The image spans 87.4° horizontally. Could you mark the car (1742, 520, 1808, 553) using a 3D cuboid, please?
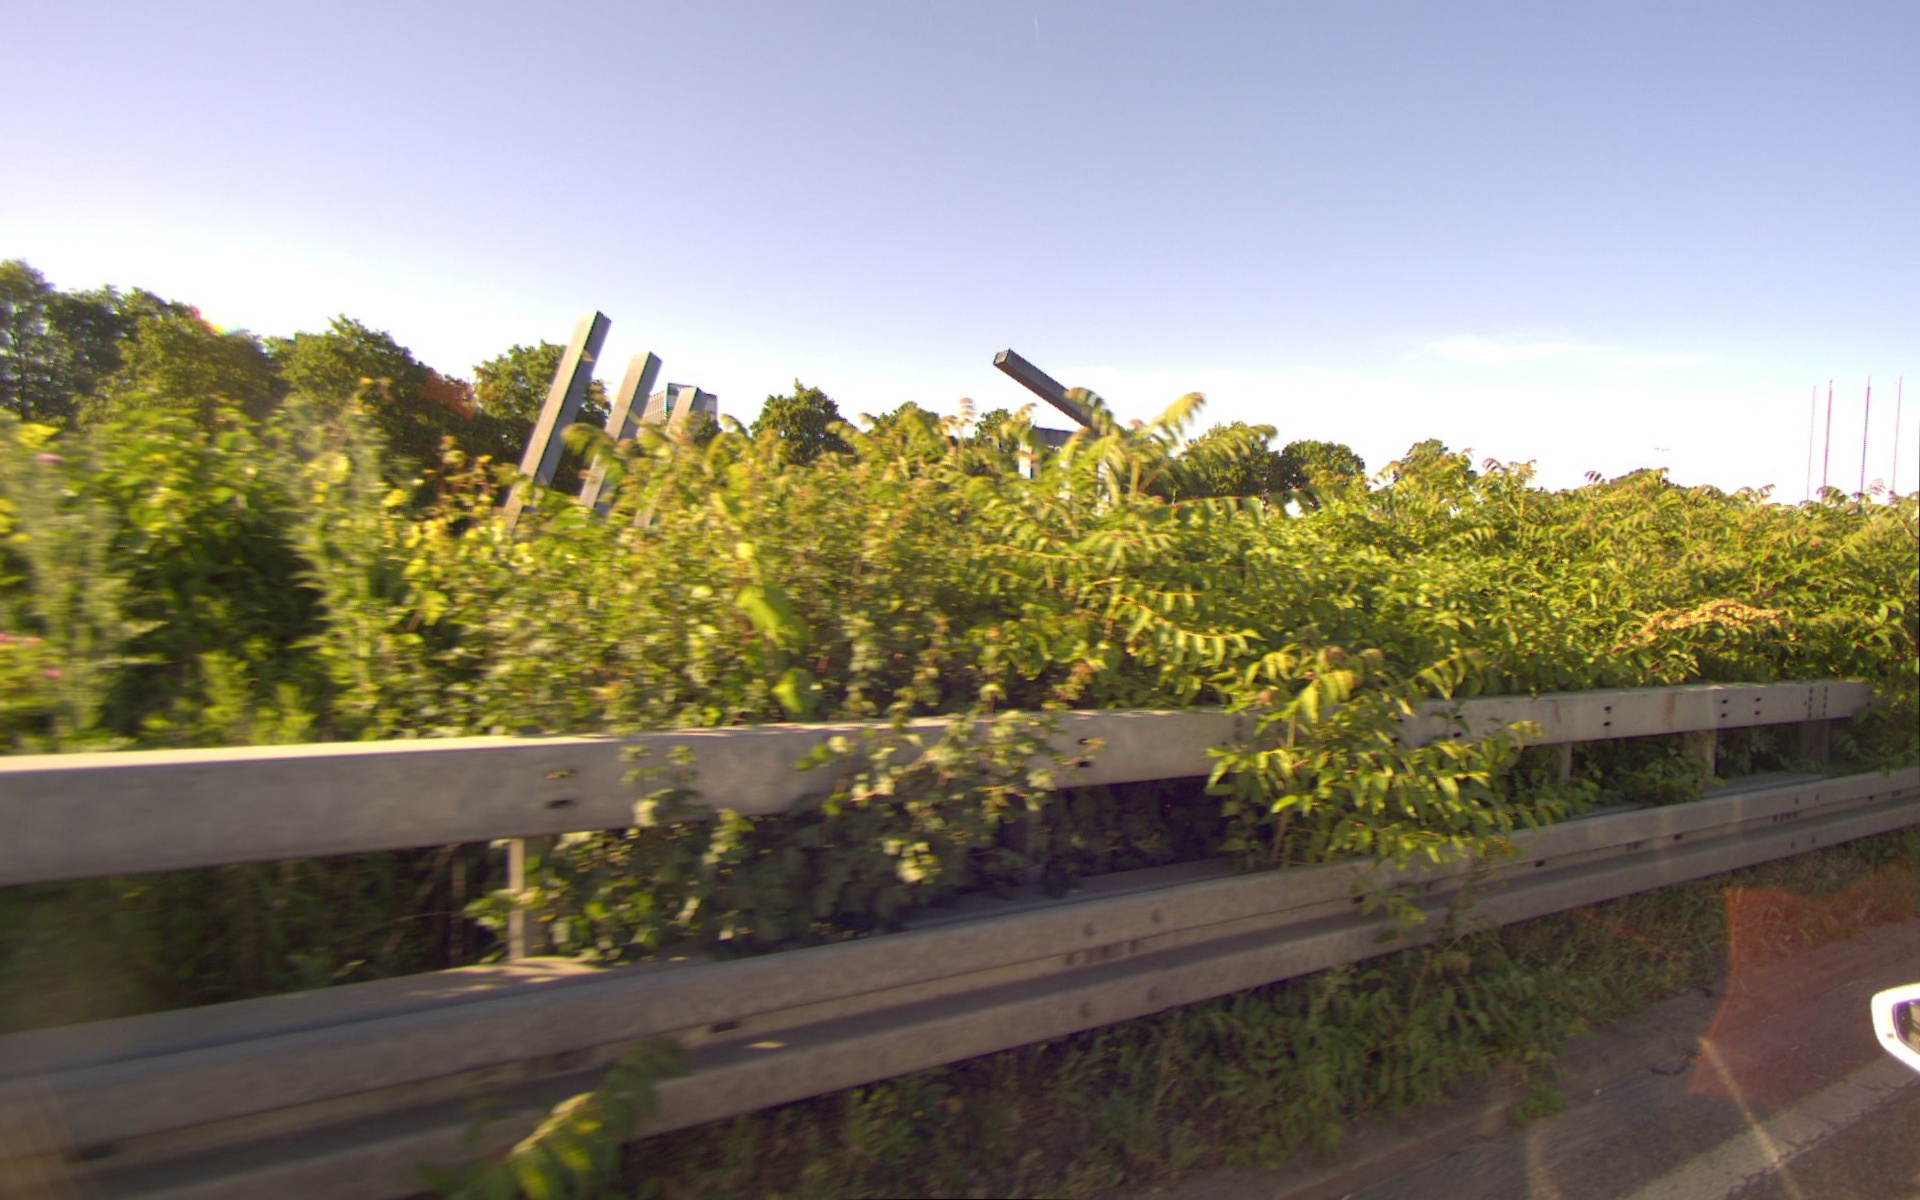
[{"bbox_3d":[74.436,-5.776,91.831,2.043,2.843,4.316,1,1,-9],"label":"car"}]
